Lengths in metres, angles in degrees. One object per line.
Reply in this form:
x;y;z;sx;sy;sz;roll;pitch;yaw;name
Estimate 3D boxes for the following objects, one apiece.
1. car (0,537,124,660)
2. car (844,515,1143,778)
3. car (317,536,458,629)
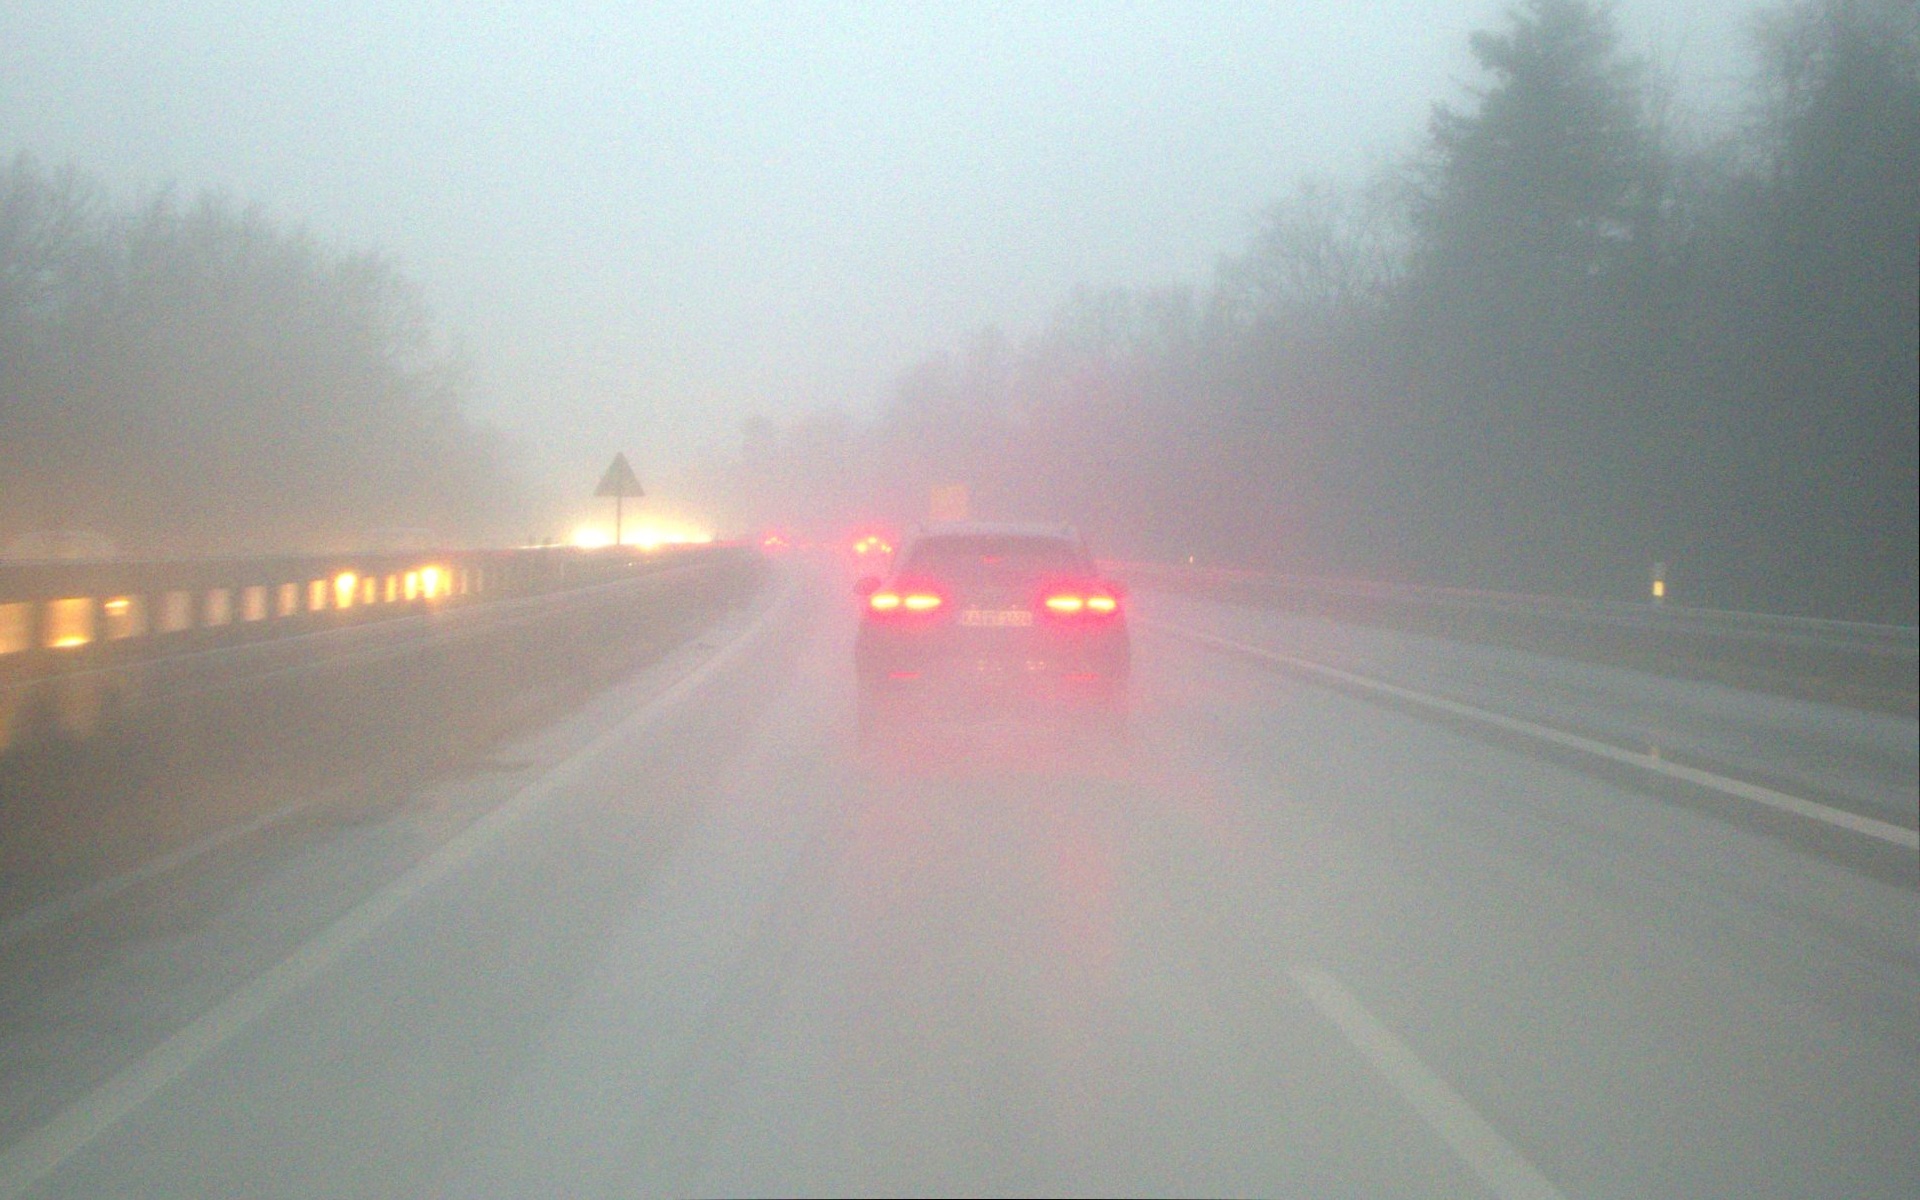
-13.171;-0.048;49.364;1.542;1.690;3.502;1;0;-1;car
0.167;0.300;25.601;1.924;1.785;3.941;1;0;-4;car
-10.030;-0.315;60.542;1.833;1.544;4.529;1;0;-2;car
